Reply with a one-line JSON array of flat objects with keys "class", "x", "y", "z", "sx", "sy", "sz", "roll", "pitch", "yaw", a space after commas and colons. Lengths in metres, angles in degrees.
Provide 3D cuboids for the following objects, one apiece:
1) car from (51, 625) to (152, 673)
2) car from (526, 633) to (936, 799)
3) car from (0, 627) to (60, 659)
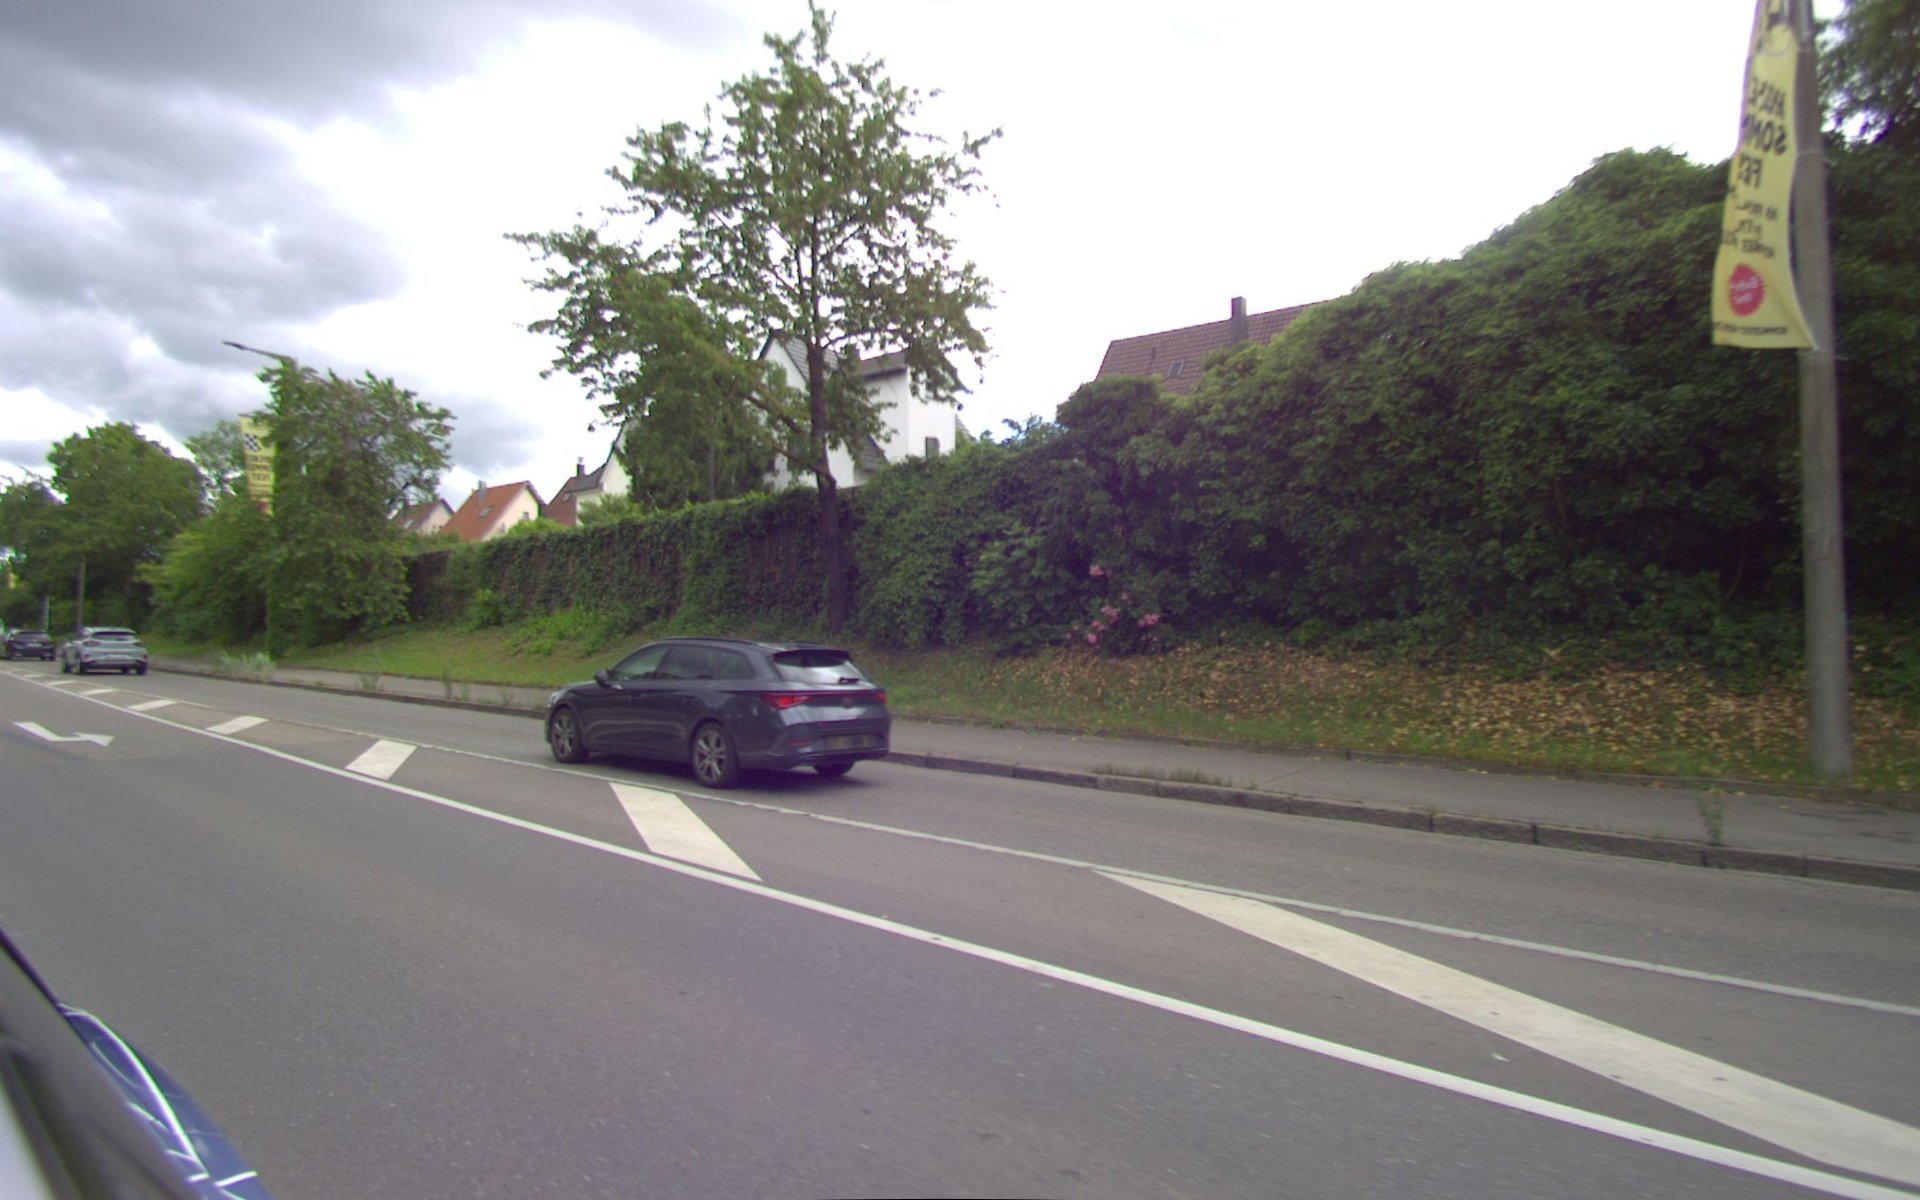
[{"class": "car", "x": -28.118, "y": 1.595, "z": 33.124, "sx": 4.140, "sy": 1.468, "sz": 1.808, "roll": -1, "pitch": -4, "yaw": 40}, {"class": "car", "x": -2.549, "y": 1.080, "z": 10.708, "sx": 4.442, "sy": 1.386, "sz": 1.823, "roll": -1, "pitch": -4, "yaw": 38}, {"class": "car", "x": -43.274, "y": 1.989, "z": 46.904, "sx": 4.213, "sy": 1.411, "sz": 1.748, "roll": -1, "pitch": -4, "yaw": 41}]
